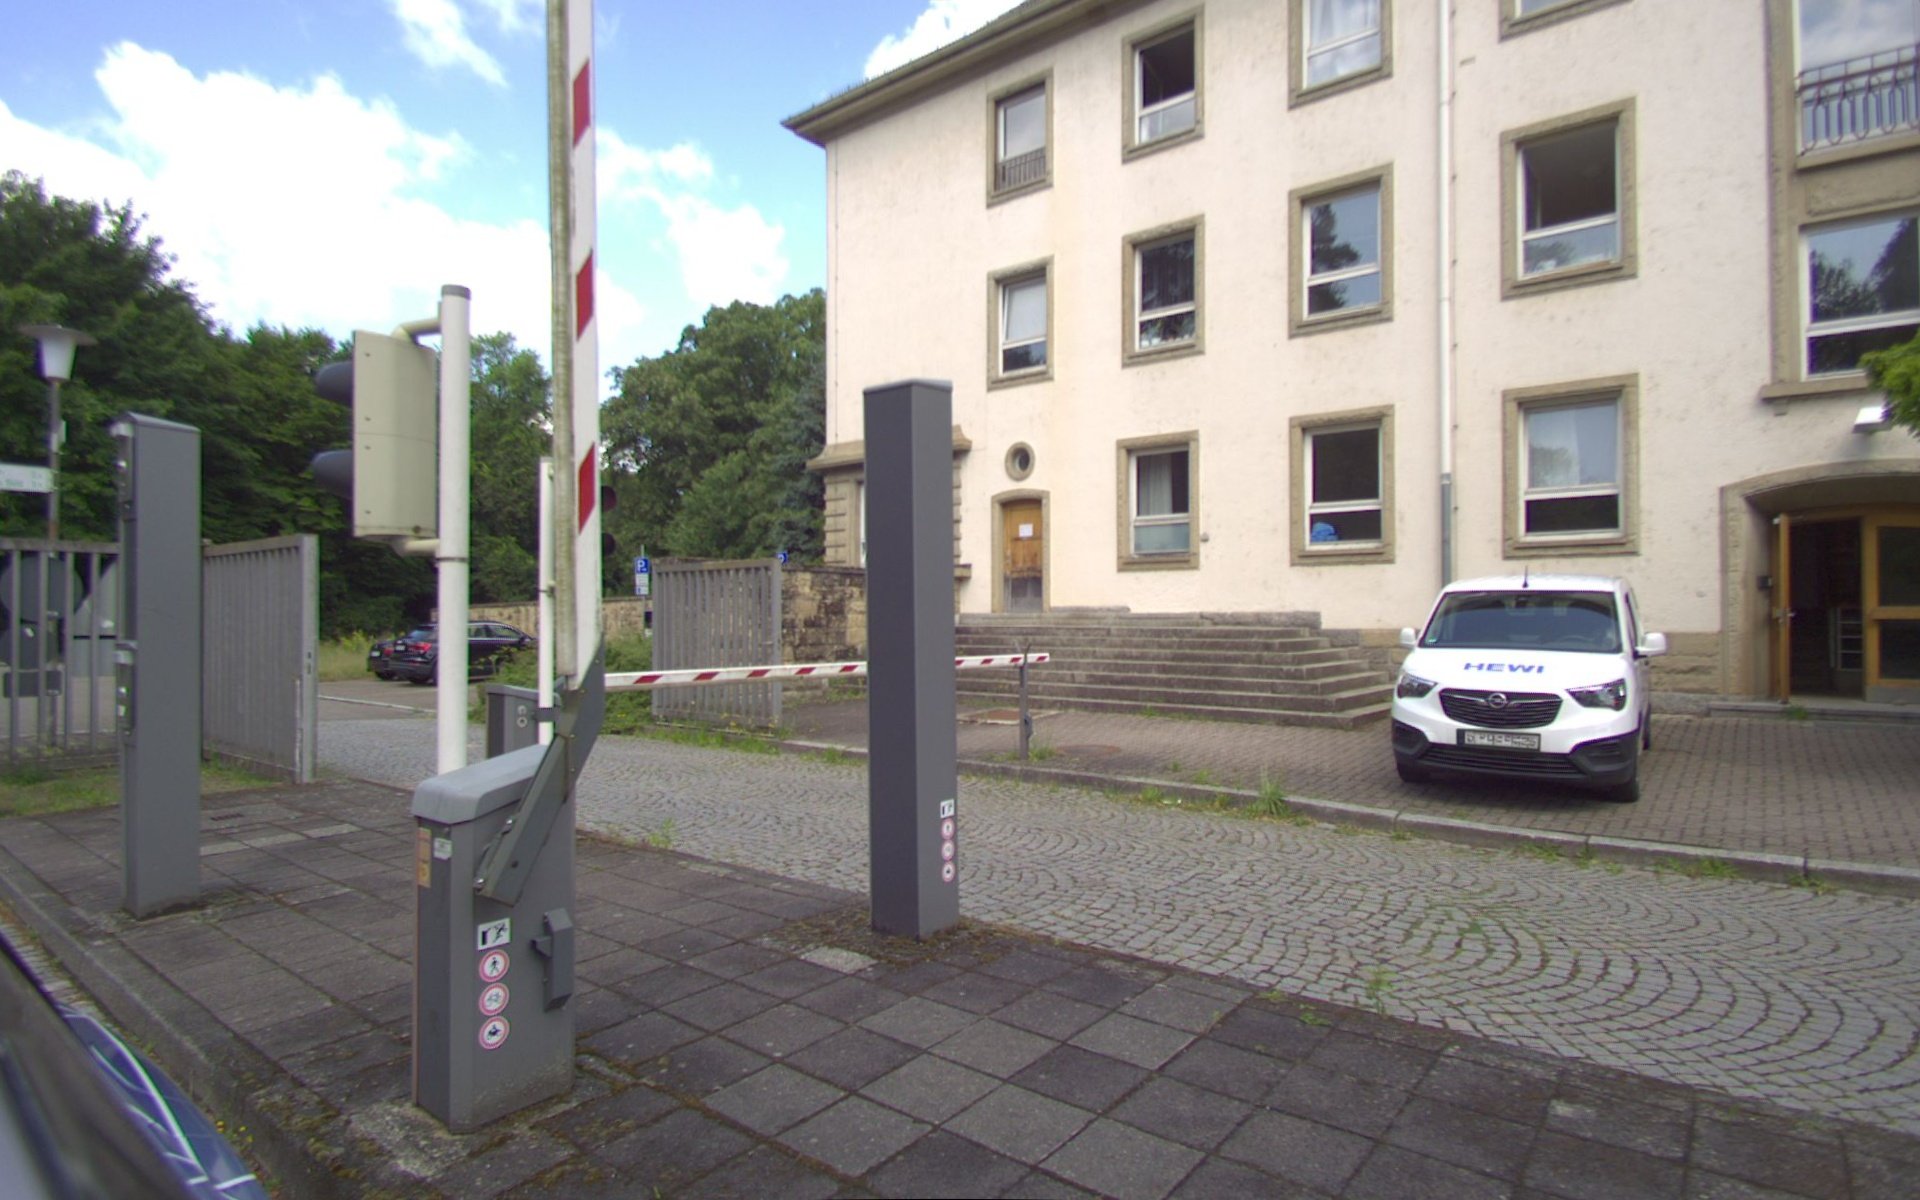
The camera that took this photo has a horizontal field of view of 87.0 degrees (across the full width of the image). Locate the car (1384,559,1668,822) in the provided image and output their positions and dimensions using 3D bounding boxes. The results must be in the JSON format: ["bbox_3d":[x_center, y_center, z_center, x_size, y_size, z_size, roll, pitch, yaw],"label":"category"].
[{"bbox_3d":[5.376,0.563,9.312,1.817,1.819,4.263,0,2,36],"label":"car"}]

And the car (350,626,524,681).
[{"bbox_3d":[-14.460,1.424,28.120,1.803,1.356,3.942,-1,-1,44],"label":"car"}]

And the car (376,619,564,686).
[{"bbox_3d":[-12.424,1.271,25.812,1.803,1.529,3.942,-1,-1,44],"label":"car"}]
